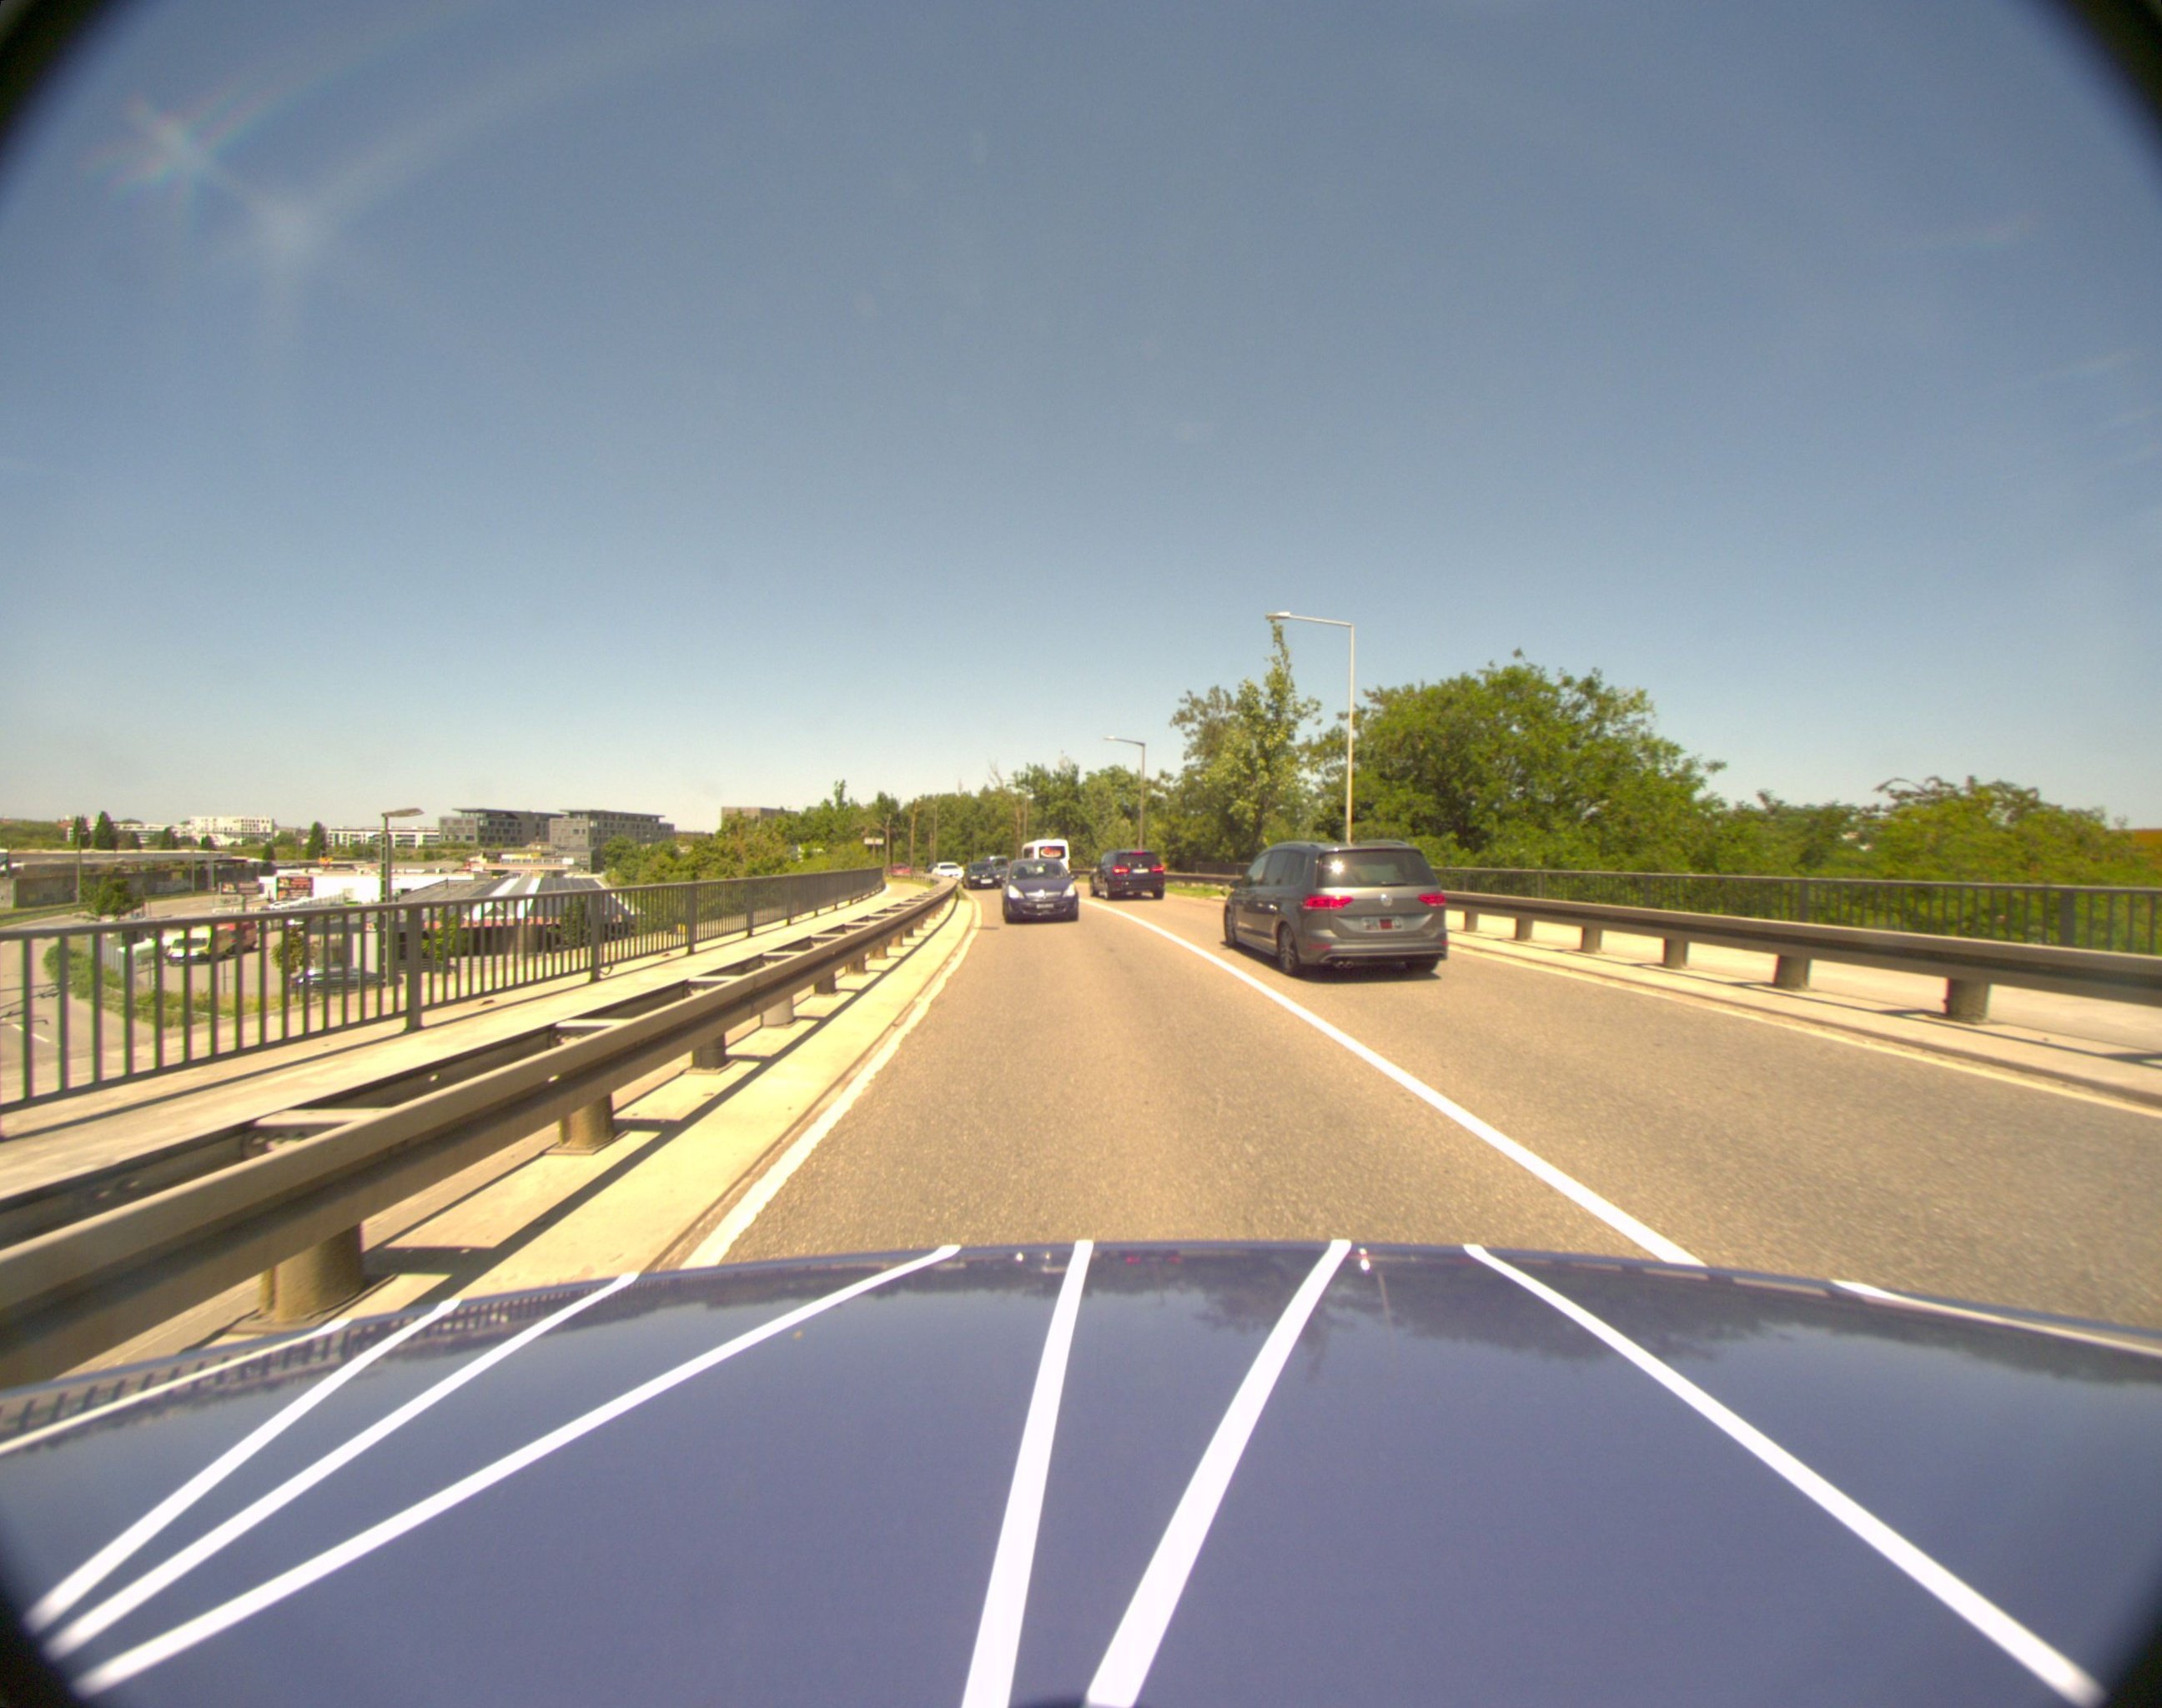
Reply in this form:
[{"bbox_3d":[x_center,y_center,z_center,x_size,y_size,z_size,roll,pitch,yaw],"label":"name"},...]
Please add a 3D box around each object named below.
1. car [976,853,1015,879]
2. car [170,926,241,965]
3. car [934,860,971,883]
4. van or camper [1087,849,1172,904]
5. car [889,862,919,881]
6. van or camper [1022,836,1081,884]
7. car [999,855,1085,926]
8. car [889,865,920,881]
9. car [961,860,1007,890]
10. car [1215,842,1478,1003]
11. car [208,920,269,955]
[{"bbox_3d":[-6.607,0.883,58.445,1.764,1.844,4.267,-2,1,-23],"label":"car"},{"bbox_3d":[-67.856,7.011,58.994,2.155,2.339,4.917,-7,2,-34],"label":"car"},{"bbox_3d":[-8.840,1.184,52.072,1.819,1.419,3.709,-2,0,-20],"label":"car"},{"bbox_3d":[1.612,0.705,27.121,2.000,1.751,4.693,-1,1,-9],"label":"van or camper"},{"bbox_3d":[-16.687,1.626,71.502,1.904,1.645,4.249,-2,2,-23],"label":"car"},{"bbox_3d":[-1.765,0.351,43.254,2.056,2.522,5.876,-1,0,-15],"label":"van or camper"},{"bbox_3d":[-1.061,0.789,18.467,1.699,1.459,4.380,-2,0,-7],"label":"car"},{"bbox_3d":[-19.242,2.086,82.693,1.724,1.419,4.098,-7,1,-34],"label":"car"},{"bbox_3d":[-5.123,1.057,39.660,1.571,1.408,4.116,-2,0,-18],"label":"car"},{"bbox_3d":[3.225,0.699,10.241,1.901,1.645,4.256,-1,1,-2],"label":"car"},{"bbox_3d":[-71.708,7.043,64.777,2.155,2.339,4.917,-7,2,-35],"label":"car"}]
